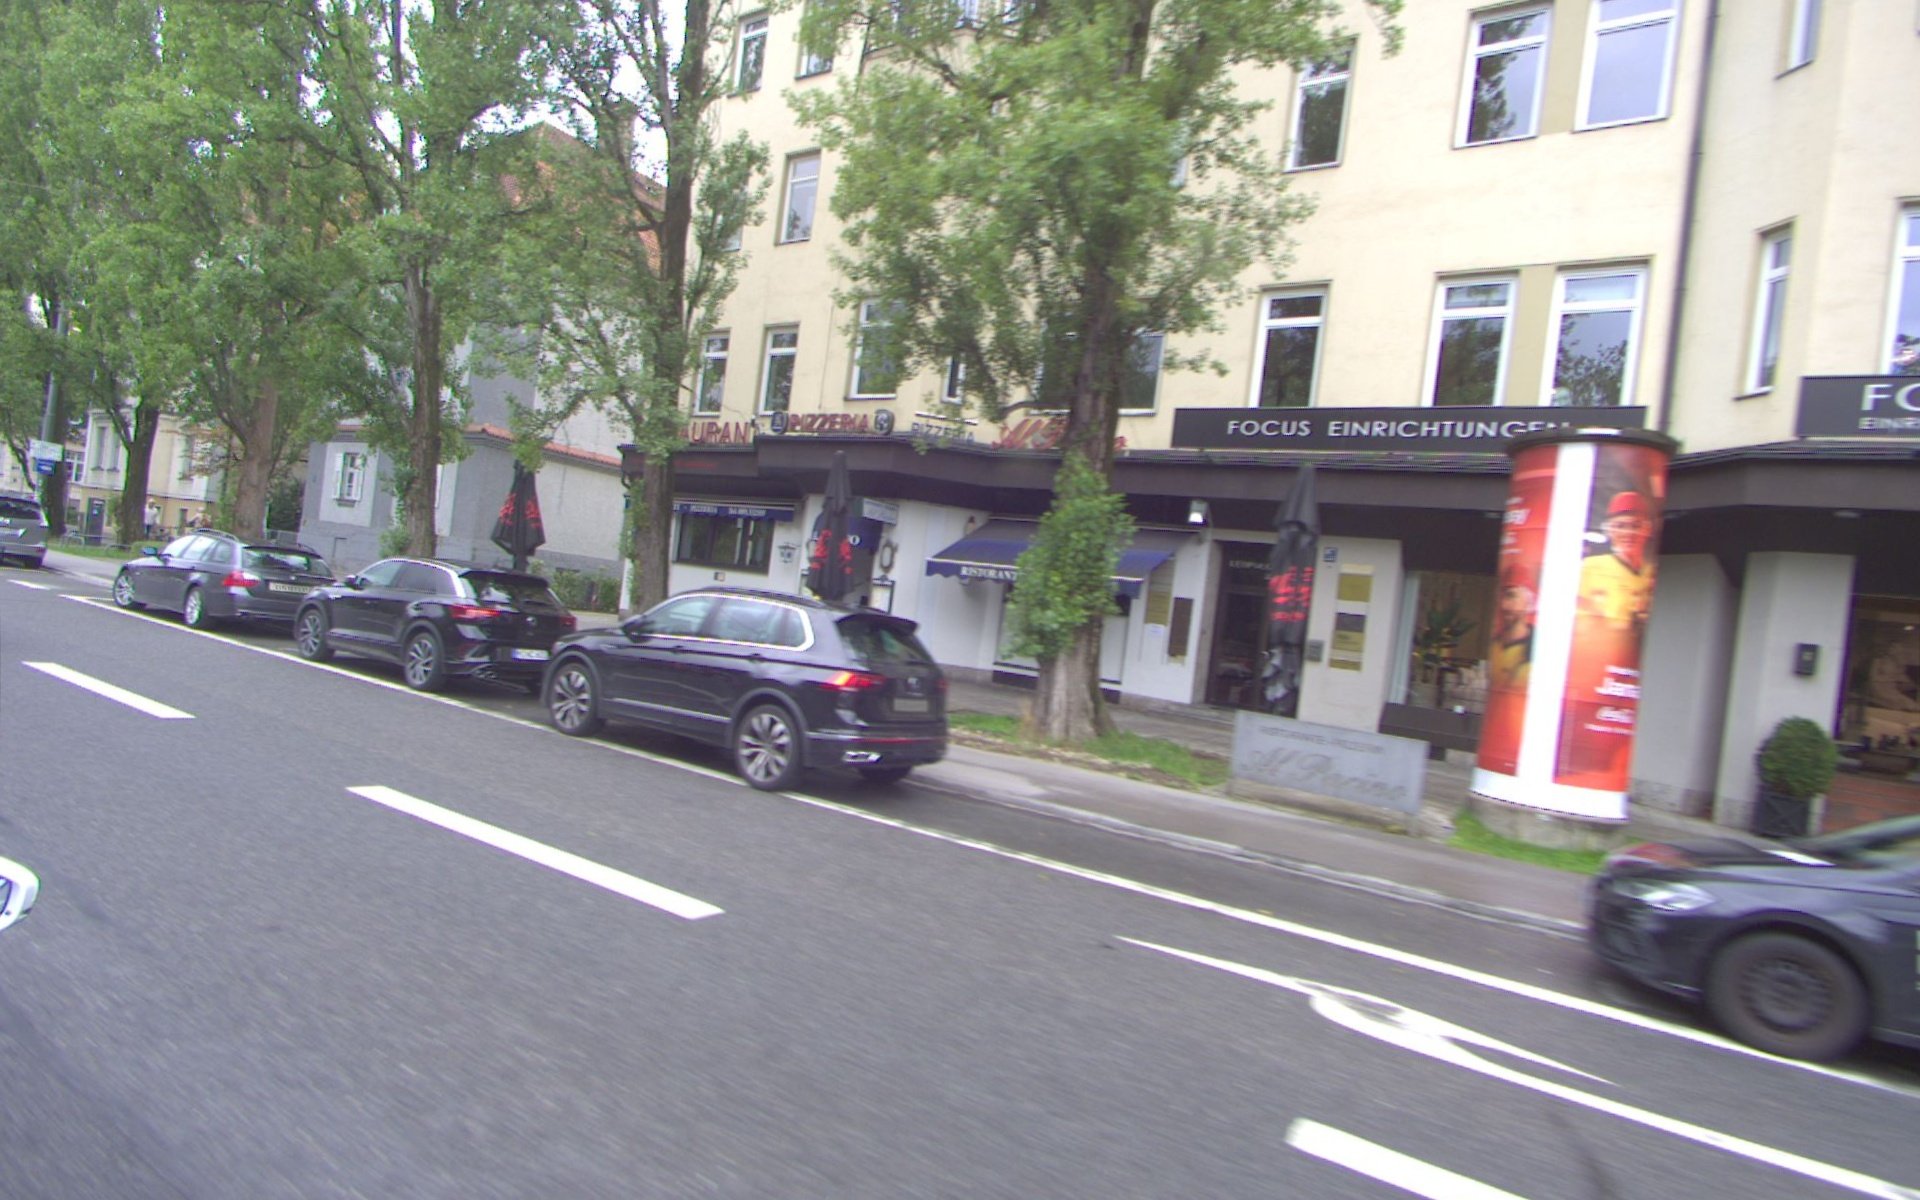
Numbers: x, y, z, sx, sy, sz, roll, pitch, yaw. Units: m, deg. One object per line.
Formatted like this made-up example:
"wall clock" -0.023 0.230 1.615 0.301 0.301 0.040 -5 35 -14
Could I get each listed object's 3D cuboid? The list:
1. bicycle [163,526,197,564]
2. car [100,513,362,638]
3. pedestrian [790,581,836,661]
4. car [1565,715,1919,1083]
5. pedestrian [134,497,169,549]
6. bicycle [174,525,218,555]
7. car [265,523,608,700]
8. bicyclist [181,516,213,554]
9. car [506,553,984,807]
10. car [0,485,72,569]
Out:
"bicycle" -23.773 -1.681 30.672 1.208 1.000 0.355 9 1 34
"car" -11.594 -0.410 15.935 4.309 1.415 1.802 7 0 32
"pedestrian" -3.078 0.452 21.094 0.487 1.581 0.573 9 1 33
"car" 5.516 1.651 5.139 3.931 1.483 1.803 7 -1 29
"pedestrian" -29.704 -2.835 36.956 0.811 1.759 0.592 9 1 33
"bicycle" -29.488 -2.307 38.824 1.871 0.934 0.653 7 0 32
"car" -6.615 0.111 12.582 4.234 1.632 1.802 7 0 32
"bicyclist" -29.413 -2.512 38.795 0.694 1.331 0.661 7 0 31
"car" -2.164 0.630 9.644 4.397 1.632 1.723 7 0 32
"car" -22.004 -1.804 22.591 4.472 1.632 1.802 7 0 32
